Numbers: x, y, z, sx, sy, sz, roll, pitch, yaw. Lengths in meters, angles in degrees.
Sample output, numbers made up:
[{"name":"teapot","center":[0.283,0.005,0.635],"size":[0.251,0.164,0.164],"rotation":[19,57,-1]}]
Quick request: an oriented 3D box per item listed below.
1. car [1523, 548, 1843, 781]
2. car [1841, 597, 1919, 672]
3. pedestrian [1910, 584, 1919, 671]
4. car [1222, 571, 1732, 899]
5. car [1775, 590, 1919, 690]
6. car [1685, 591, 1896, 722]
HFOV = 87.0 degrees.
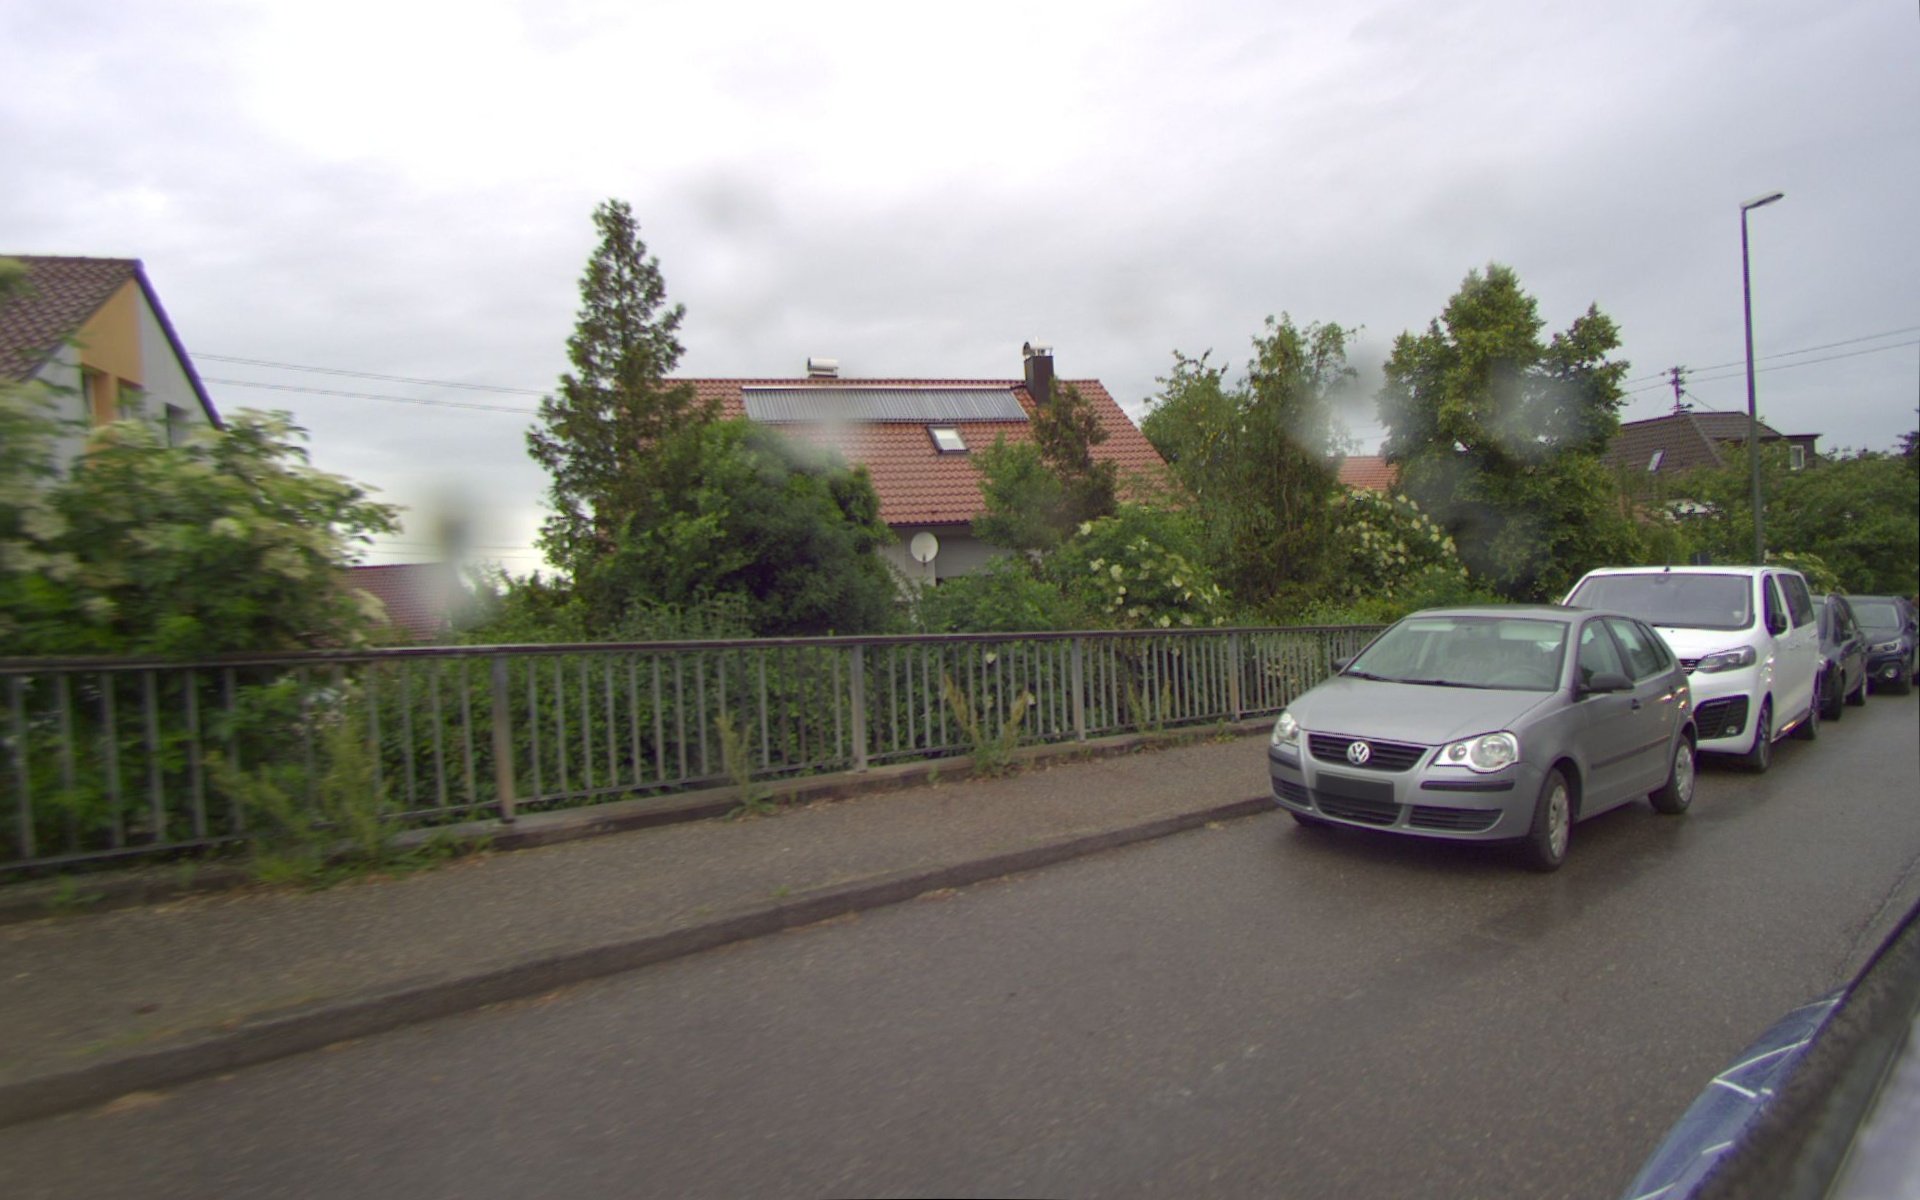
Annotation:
[{"name":"car","center":[7.729,0.486,10.600],"size":[4.829,1.905,1.850],"rotation":[-1,1,-44]},{"name":"car","center":[20.116,0.679,21.306],"size":[3.782,1.432,1.740],"rotation":[-1,1,-39]},{"name":"pedestrian","center":[18.710,0.526,19.339],"size":[0.694,1.656,0.718],"rotation":[0,0,-39]},{"name":"car","center":[3.610,0.620,6.772],"size":[3.893,1.583,1.651],"rotation":[-1,1,-40]},{"name":"car","center":[16.089,0.599,17.974],"size":[4.643,1.525,1.818],"rotation":[-1,1,-42]},{"name":"car","center":[11.884,0.676,14.383],"size":[4.278,1.560,1.647],"rotation":[-1,1,-41]}]
